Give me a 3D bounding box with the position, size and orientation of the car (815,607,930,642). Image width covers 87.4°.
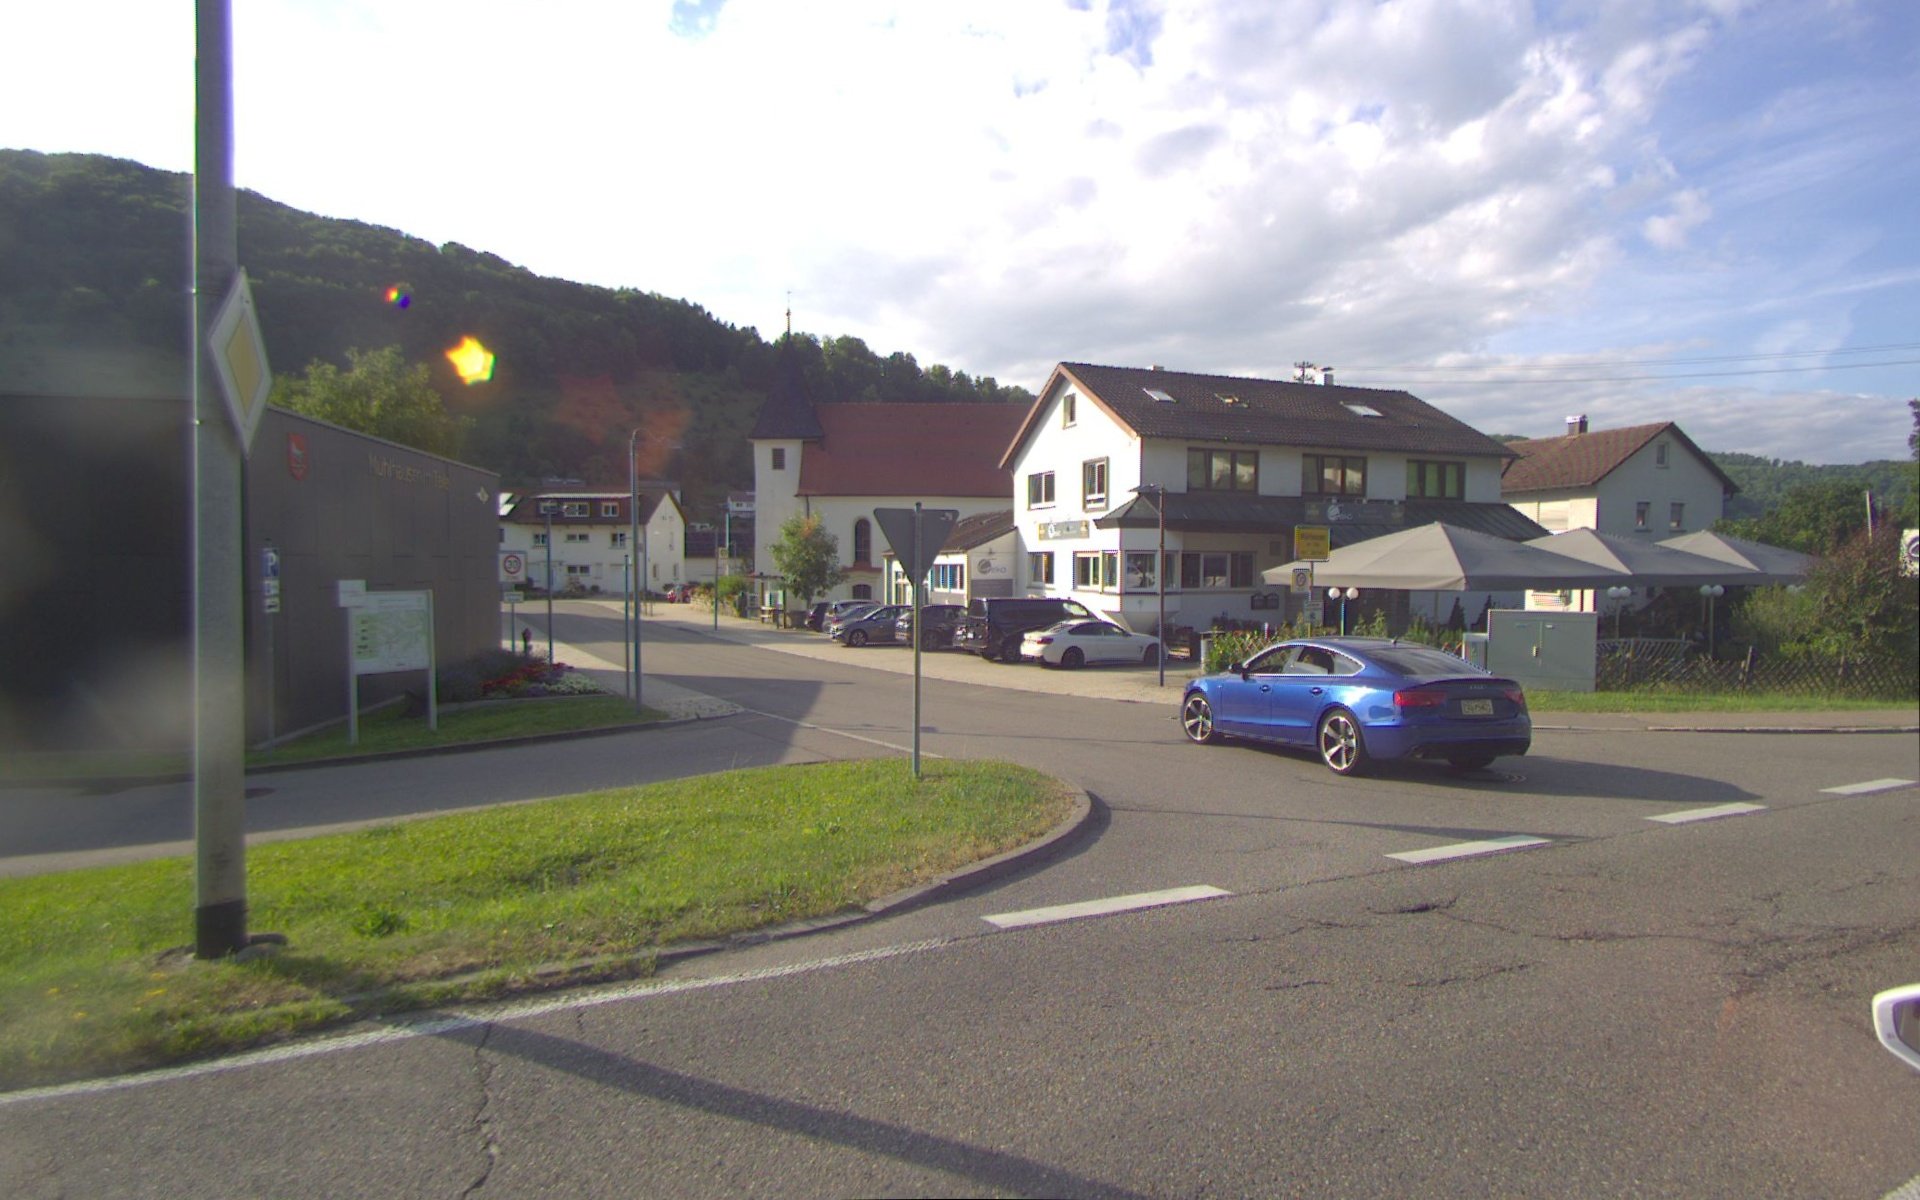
[{"bbox_3d":[-3.730,1.029,42.820,4.513,1.431,1.988,1,-1,-25],"label":"car"}]

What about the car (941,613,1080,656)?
[{"bbox_3d":[1.772,1.187,35.348,4.513,1.408,1.988,1,-1,-25],"label":"car"}]

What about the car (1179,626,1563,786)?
[{"bbox_3d":[4.337,1.020,11.421,1.806,1.428,4.211,0,-1,-17],"label":"car"}]

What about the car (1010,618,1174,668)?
[{"bbox_3d":[3.931,1.233,29.945,4.513,1.408,1.988,1,-1,-25],"label":"car"}]

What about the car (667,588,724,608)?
[{"bbox_3d":[-20.690,-0.120,78.628,3.952,1.528,1.984,0,0,-30],"label":"car"}]

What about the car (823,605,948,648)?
[{"bbox_3d":[-2.935,1.026,39.615,4.513,1.618,1.988,1,-1,-25],"label":"car"}]

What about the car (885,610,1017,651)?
[{"bbox_3d":[-0.319,1.115,37.346,4.513,1.431,1.988,1,-1,-25],"label":"car"}]

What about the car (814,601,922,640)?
[{"bbox_3d":[-4.155,0.917,45.442,4.513,1.665,1.988,1,-1,-25],"label":"car"}]

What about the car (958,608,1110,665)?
[{"bbox_3d":[2.372,1.133,32.165,4.513,1.707,1.988,1,-1,-25],"label":"car"}]
